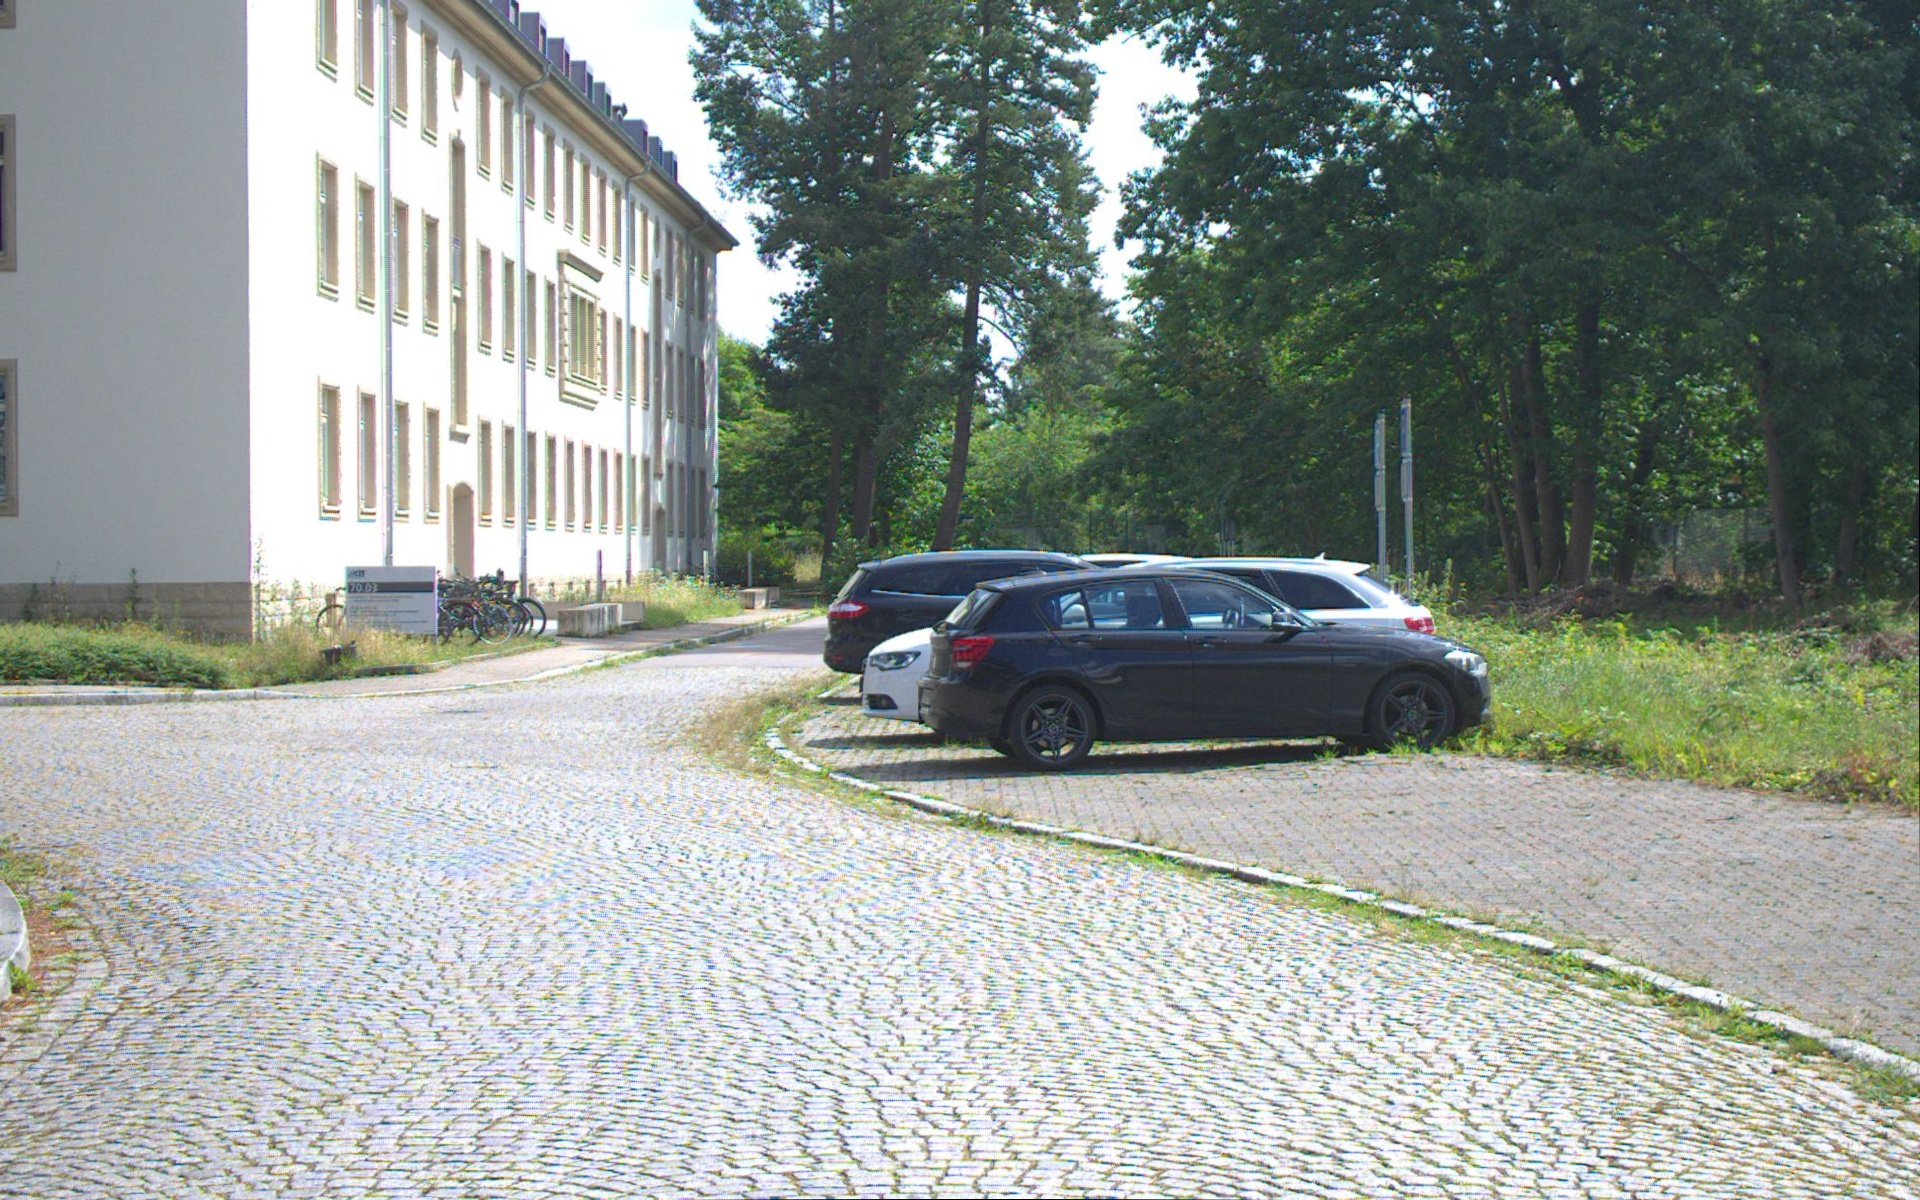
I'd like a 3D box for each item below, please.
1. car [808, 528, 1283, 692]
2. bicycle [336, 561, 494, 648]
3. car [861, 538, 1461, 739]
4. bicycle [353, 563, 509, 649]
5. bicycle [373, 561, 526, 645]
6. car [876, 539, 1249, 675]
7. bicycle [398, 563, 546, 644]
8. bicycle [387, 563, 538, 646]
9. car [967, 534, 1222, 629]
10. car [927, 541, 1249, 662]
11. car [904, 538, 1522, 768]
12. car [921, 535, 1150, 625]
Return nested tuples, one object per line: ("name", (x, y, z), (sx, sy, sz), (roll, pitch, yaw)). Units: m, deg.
("car", (0.883, 0.097, 36.397), (4.852, 1.547, 1.880), (-2, 0, 0))
("bicycle", (-8.086, 0.065, 51.055), (2.223, 1.256, 0.623), (-1, 1, 8))
("car", (1.644, 0.298, 29.026), (4.862, 1.467, 1.874), (-2, 2, 0))
("bicycle", (-7.974, 0.091, 51.875), (2.222, 1.256, 0.623), (-1, 1, 4))
("bicycle", (-7.834, 0.039, 52.788), (2.223, 1.256, 0.623), (-1, 1, 8))
("car", (1.219, 0.078, 41.828), (4.398, 1.479, 1.766), (-2, 0, 0))
("bicycle", (-7.755, 0.052, 54.671), (2.222, 1.256, 0.623), (-1, 1, 4))
("bicycle", (-7.761, 0.065, 53.662), (2.222, 1.256, 0.623), (-1, 1, 4))
("car", (2.326, -0.321, 59.089), (4.267, 1.479, 1.820), (-2, 0, 3))
("car", (1.743, 0.013, 46.429), (4.208, 1.479, 1.820), (-2, 0, 3))
("car", (1.842, 0.357, 25.814), (4.323, 1.495, 1.830), (-2, 2, -6))
("car", (1.451, -0.374, 64.519), (4.187, 1.538, 1.820), (-2, 0, 3))
